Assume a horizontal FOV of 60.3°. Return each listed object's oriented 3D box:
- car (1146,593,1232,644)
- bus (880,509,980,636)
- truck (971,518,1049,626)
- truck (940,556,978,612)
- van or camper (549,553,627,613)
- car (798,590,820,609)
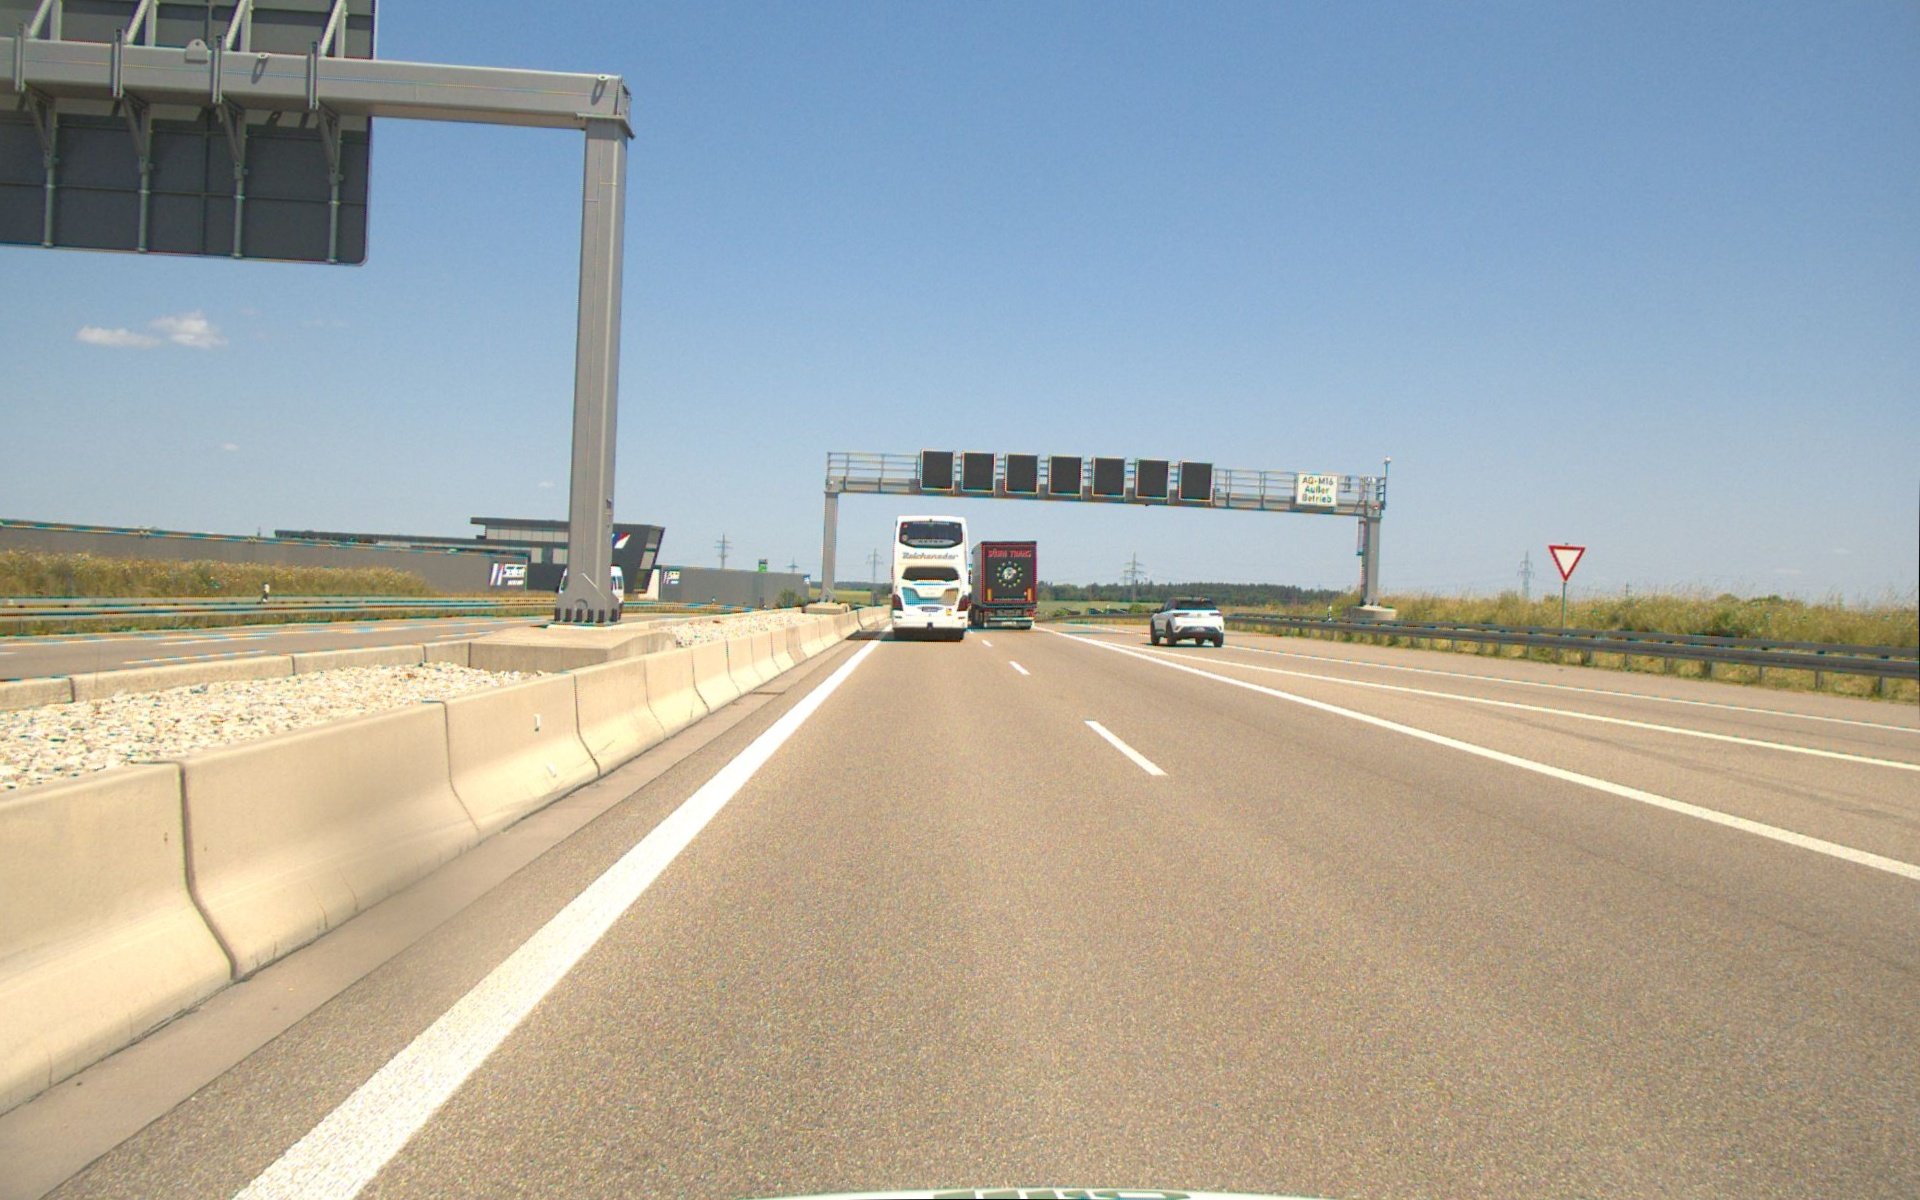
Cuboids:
[{"bbox_3d":[7.403,0.565,53.847,1.854,1.556,4.258,1,0,-5],"label":"car"},{"bbox_3d":[-1.195,-0.969,57.871,2.922,4.044,9.098,1,1,-4],"label":"bus"},{"bbox_3d":[2.317,-1.157,81.247,3.310,4.542,13.565,2,-2,0],"label":"truck"},{"bbox_3d":[-0.114,-1.142,119.401,2.388,3.855,6.490,1,0,-2],"label":"truck"},{"bbox_3d":[-16.992,-0.781,75.877,2.272,2.603,6.313,1,0,-2],"label":"van or camper"},{"bbox_3d":[-17.284,-0.075,189.465,2.104,2.049,5.380,1,0,-1],"label":"car"}]
